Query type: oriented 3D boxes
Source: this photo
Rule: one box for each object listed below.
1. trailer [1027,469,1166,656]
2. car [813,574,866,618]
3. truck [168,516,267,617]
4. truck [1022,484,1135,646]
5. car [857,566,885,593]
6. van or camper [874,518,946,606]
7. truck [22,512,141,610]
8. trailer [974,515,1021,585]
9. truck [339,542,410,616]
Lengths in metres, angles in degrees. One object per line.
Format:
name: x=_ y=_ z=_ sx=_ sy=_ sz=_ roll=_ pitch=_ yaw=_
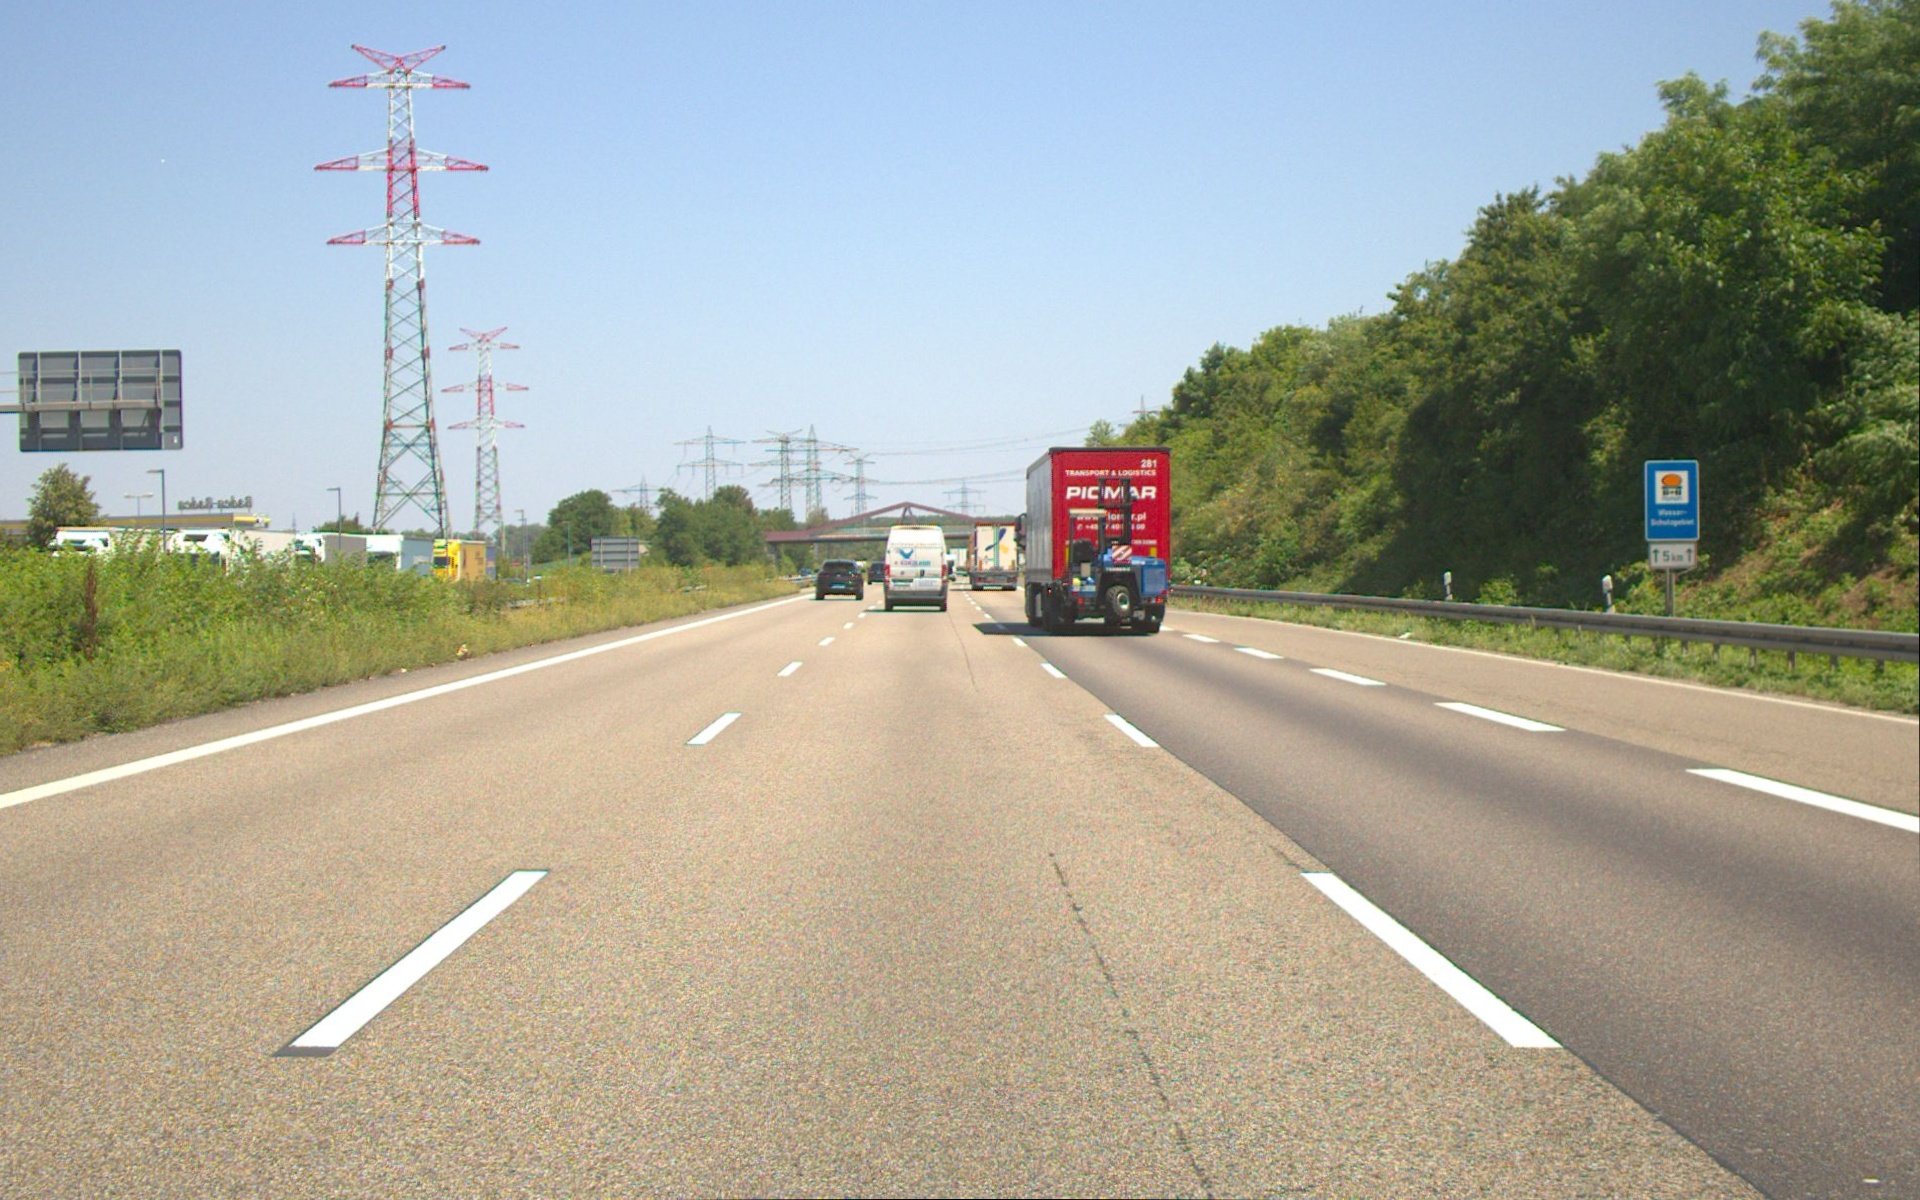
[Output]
trailer: x=2.995 y=-0.825 z=79.065 sx=2.490 sy=3.896 sz=14.246 roll=0 pitch=0 yaw=-1
car: x=-5.126 y=-0.191 z=146.794 sx=1.982 sy=1.811 sz=3.812 roll=1 pitch=0 yaw=2
truck: x=-31.774 y=-1.417 z=147.398 sx=2.581 sy=4.174 sz=7.937 roll=1 pitch=0 yaw=-1
truck: x=2.921 y=-0.869 z=86.378 sx=2.499 sy=3.906 sz=7.097 roll=0 pitch=0 yaw=-1
car: x=-6.766 y=-1.561 z=261.545 sx=1.971 sy=2.005 sz=4.197 roll=2 pitch=0 yaw=-1
van or camper: x=-1.619 y=-1.246 z=112.664 sx=2.230 sy=2.773 sz=5.423 roll=1 pitch=0 yaw=0
truck: x=-38.548 y=-1.691 z=151.178 sx=3.095 sy=4.138 sz=8.317 roll=1 pitch=0 yaw=-1
trailer: x=2.272 y=-2.983 z=208.072 sx=2.637 sy=4.047 sz=12.366 roll=1 pitch=0 yaw=1
truck: x=-33.037 y=-1.193 z=194.081 sx=2.849 sy=4.059 sz=7.090 roll=1 pitch=0 yaw=-1
